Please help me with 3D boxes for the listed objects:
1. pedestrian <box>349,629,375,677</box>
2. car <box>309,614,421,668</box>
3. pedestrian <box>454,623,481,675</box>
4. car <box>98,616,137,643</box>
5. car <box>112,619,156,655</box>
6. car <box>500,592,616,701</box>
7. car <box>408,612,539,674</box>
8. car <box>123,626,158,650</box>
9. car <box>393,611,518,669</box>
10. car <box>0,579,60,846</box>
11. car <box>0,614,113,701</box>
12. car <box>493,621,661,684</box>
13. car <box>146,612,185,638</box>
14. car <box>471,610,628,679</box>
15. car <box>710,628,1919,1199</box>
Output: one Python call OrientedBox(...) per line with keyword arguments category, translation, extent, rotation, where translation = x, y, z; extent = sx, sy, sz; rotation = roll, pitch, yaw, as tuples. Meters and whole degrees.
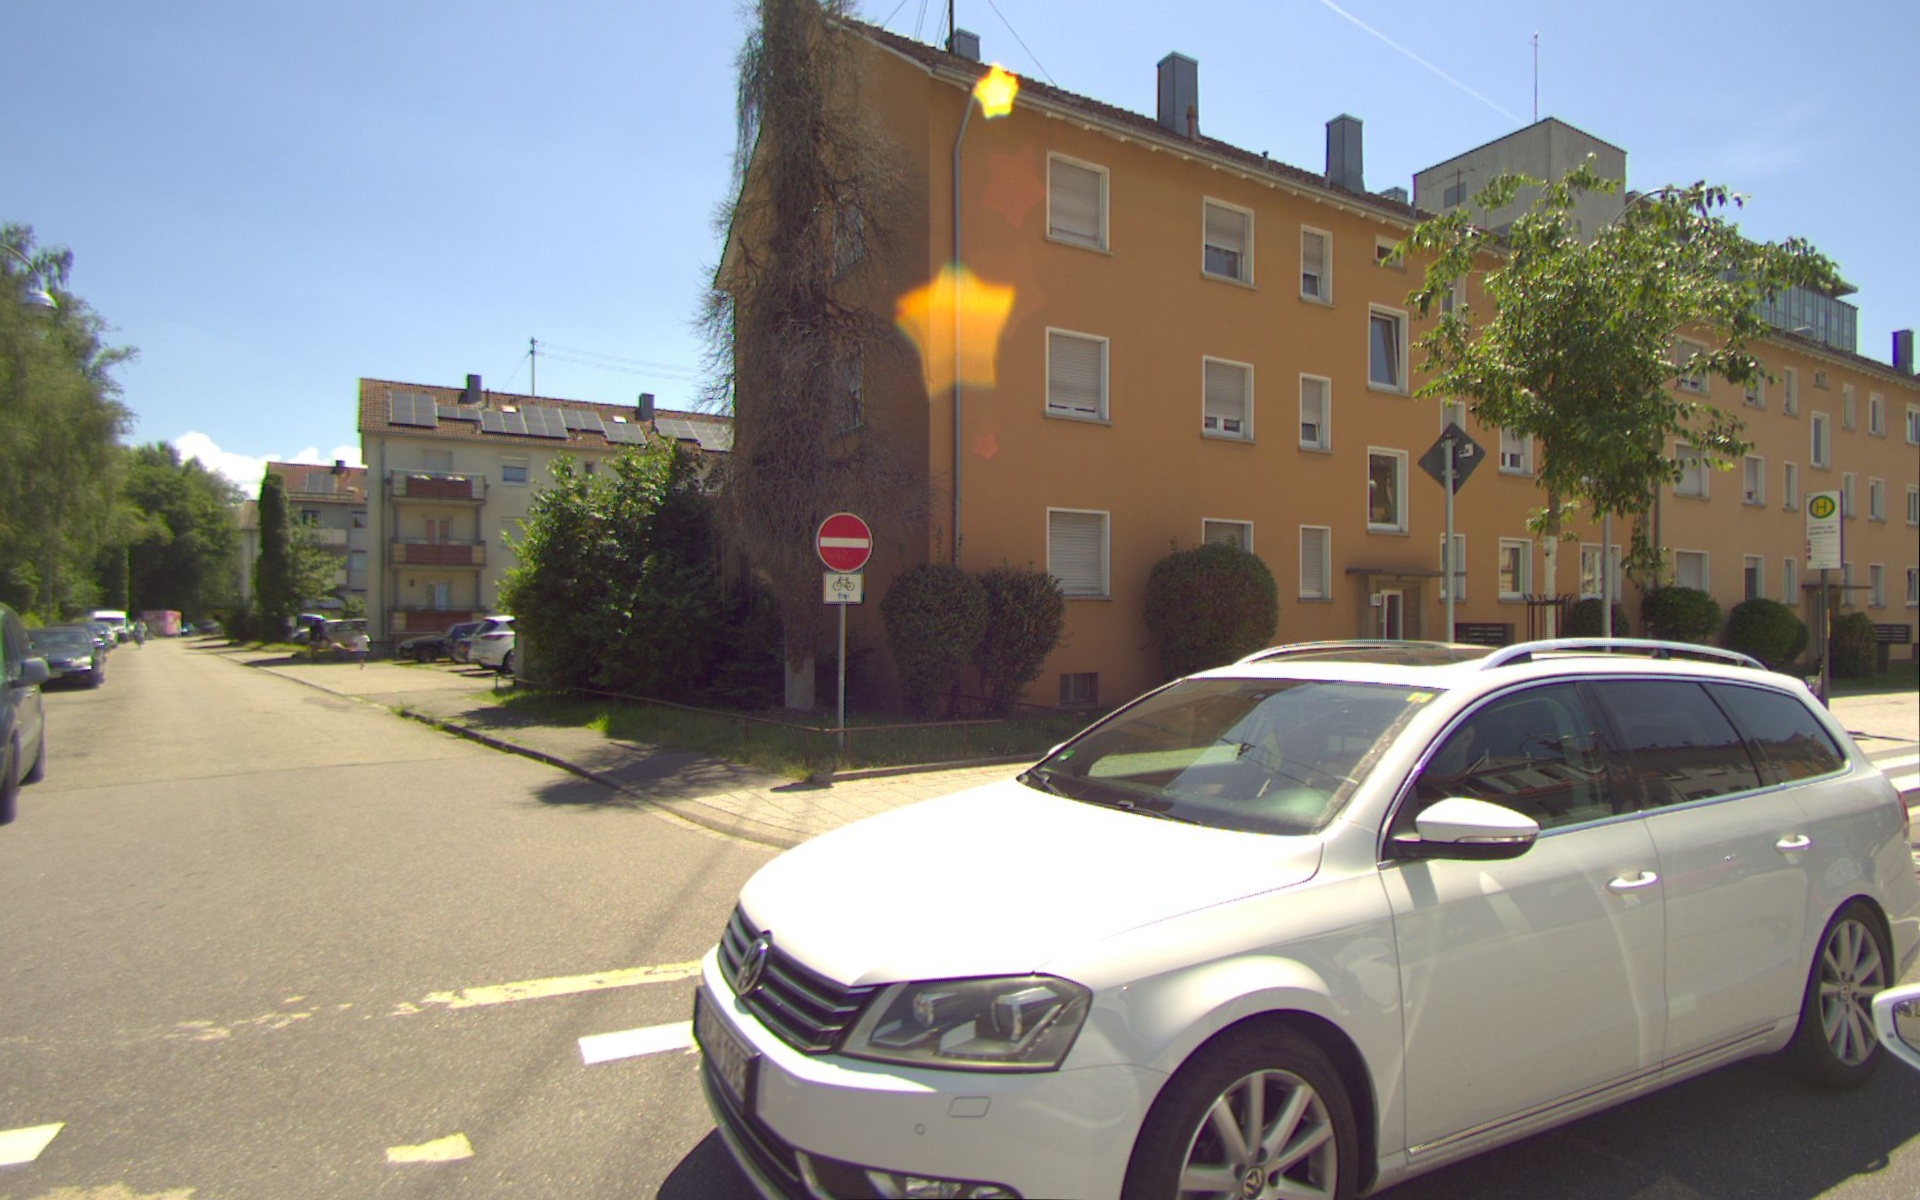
OrientedBox(category="pedestrian", translation=(-19.494, 1.711, 32.751), extent=(0.686, 1.532, 0.727), rotation=(0, 0, -29))
OrientedBox(category="car", translation=(-22.366, 1.503, 37.843), extent=(3.509, 1.812, 1.546), rotation=(-1, 1, -32))
OrientedBox(category="pedestrian", translation=(-14.655, 1.445, 29.892), extent=(0.686, 1.532, 0.727), rotation=(0, 0, -29))
OrientedBox(category="car", translation=(-66.130, 2.328, 78.923), extent=(1.980, 2.040, 3.961), rotation=(1, -2, -35))
OrientedBox(category="car", translation=(-49.529, 2.189, 60.262), extent=(1.983, 2.040, 3.955), rotation=(1, -2, -39))
OrientedBox(category="car", translation=(-8.492, 0.931, 21.013), extent=(1.974, 2.040, 3.974), rotation=(0, -2, -26))
OrientedBox(category="car", translation=(-17.009, 1.450, 35.121), extent=(3.955, 2.040, 1.983), rotation=(1, -1, -32))
OrientedBox(category="car", translation=(-71.083, 3.306, 87.176), extent=(1.979, 2.040, 3.962), rotation=(1, -2, -34))
OrientedBox(category="car", translation=(-18.576, 1.438, 36.987), extent=(3.955, 2.040, 1.983), rotation=(1, -1, -32))
OrientedBox(category="car", translation=(-8.806, 0.862, 8.341), extent=(1.804, 1.899, 4.387), rotation=(-1, -1, -40))
OrientedBox(category="car", translation=(-21.502, 1.301, 23.900), extent=(1.984, 1.825, 4.387), rotation=(-2, 0, -40))
OrientedBox(category="car", translation=(-10.563, 1.394, 27.772), extent=(3.963, 1.524, 1.979), rotation=(1, 1, -37))
OrientedBox(category="car", translation=(-76.636, 2.348, 96.977), extent=(2.103, 2.406, 4.702), rotation=(1, 0, -28))
OrientedBox(category="car", translation=(-11.942, 1.235, 29.278), extent=(3.959, 1.840, 1.981), rotation=(0, 0, -35))
OrientedBox(category="car", translation=(1.460, 0.902, 3.593), extent=(4.235, 1.527, 1.985), rotation=(0, 0, -29))
